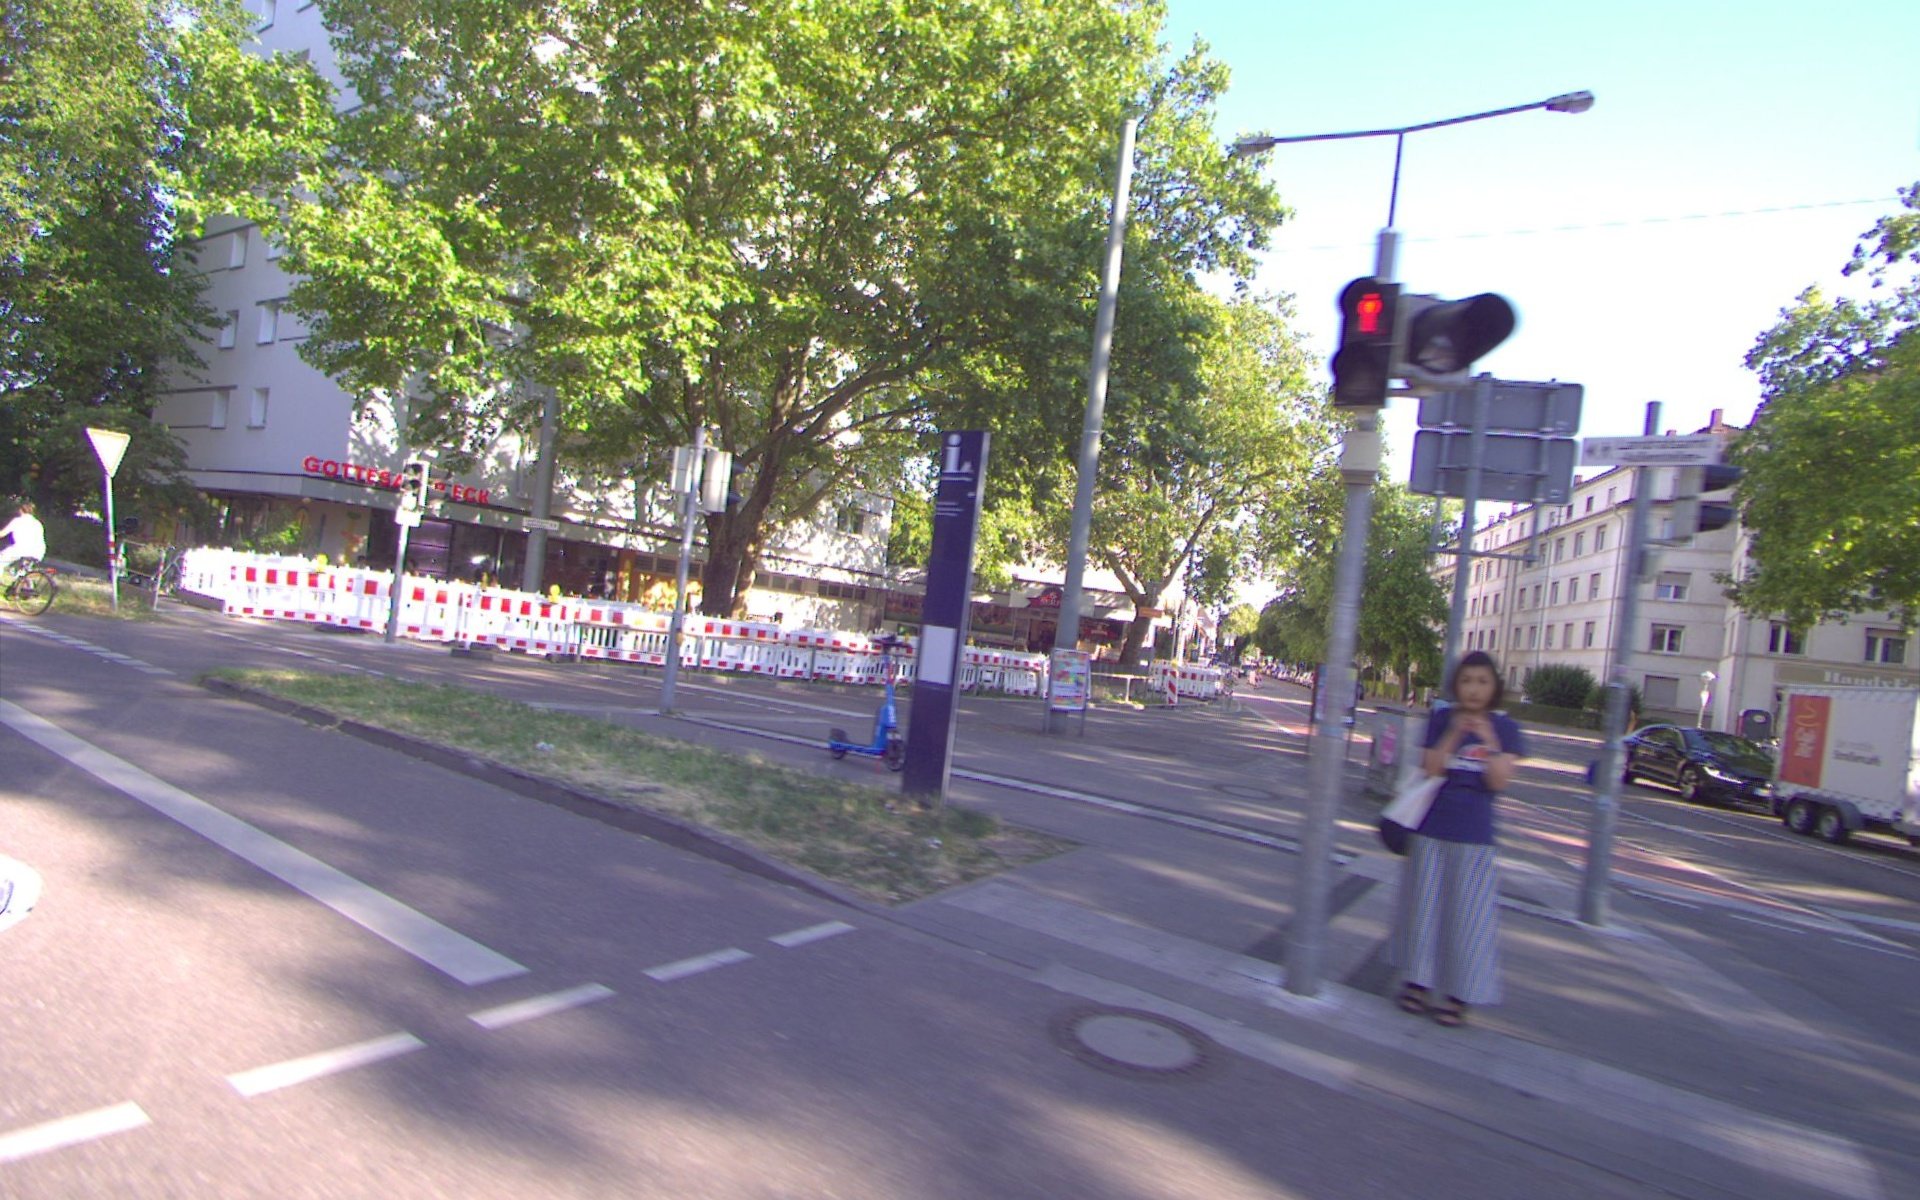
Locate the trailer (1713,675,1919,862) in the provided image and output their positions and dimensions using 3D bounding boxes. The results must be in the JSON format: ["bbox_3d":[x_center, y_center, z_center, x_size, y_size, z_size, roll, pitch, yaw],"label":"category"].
[{"bbox_3d":[14.099,2.533,15.640,1.877,2.401,4.520,7,-1,12],"label":"trailer"}]

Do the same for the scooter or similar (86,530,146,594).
[{"bbox_3d":[-18.634,-0.841,22.209,1.268,1.273,0.561,6,0,31],"label":"scooter or similar"}]

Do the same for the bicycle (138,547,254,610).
[{"bbox_3d":[-16.140,-0.445,21.262,1.917,1.039,0.605,8,0,2],"label":"bicycle"}]

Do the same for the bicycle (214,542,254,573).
[{"bbox_3d":[-32.852,-1.929,45.513,1.791,1.191,0.790,6,-3,34],"label":"bicycle"}]

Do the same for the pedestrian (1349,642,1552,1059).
[{"bbox_3d":[2.178,1.061,4.495,0.602,1.658,0.429,7,-1,27],"label":"pedestrian"}]

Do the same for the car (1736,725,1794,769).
[{"bbox_3d":[35.960,6.513,44.907,1.797,1.499,4.332,6,0,40],"label":"car"}]

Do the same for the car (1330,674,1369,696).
[{"bbox_3d":[29.283,6.395,75.813,1.899,1.375,4.446,7,-3,12],"label":"car"}]

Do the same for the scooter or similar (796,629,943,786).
[{"bbox_3d":[-0.867,0.981,9.449,1.273,1.273,0.559,6,0,43],"label":"scooter or similar"}]

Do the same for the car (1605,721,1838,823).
[{"bbox_3d":[15.016,3.334,20.191,1.899,1.375,4.446,7,-3,12],"label":"car"}]

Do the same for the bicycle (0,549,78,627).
[{"bbox_3d":[-14.482,-0.221,15.285,1.733,1.039,0.605,7,0,11],"label":"bicycle"}]

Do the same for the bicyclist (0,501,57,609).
[{"bbox_3d":[-14.470,-0.696,15.290,0.843,1.569,0.605,6,0,11],"label":"bicyclist"}]
